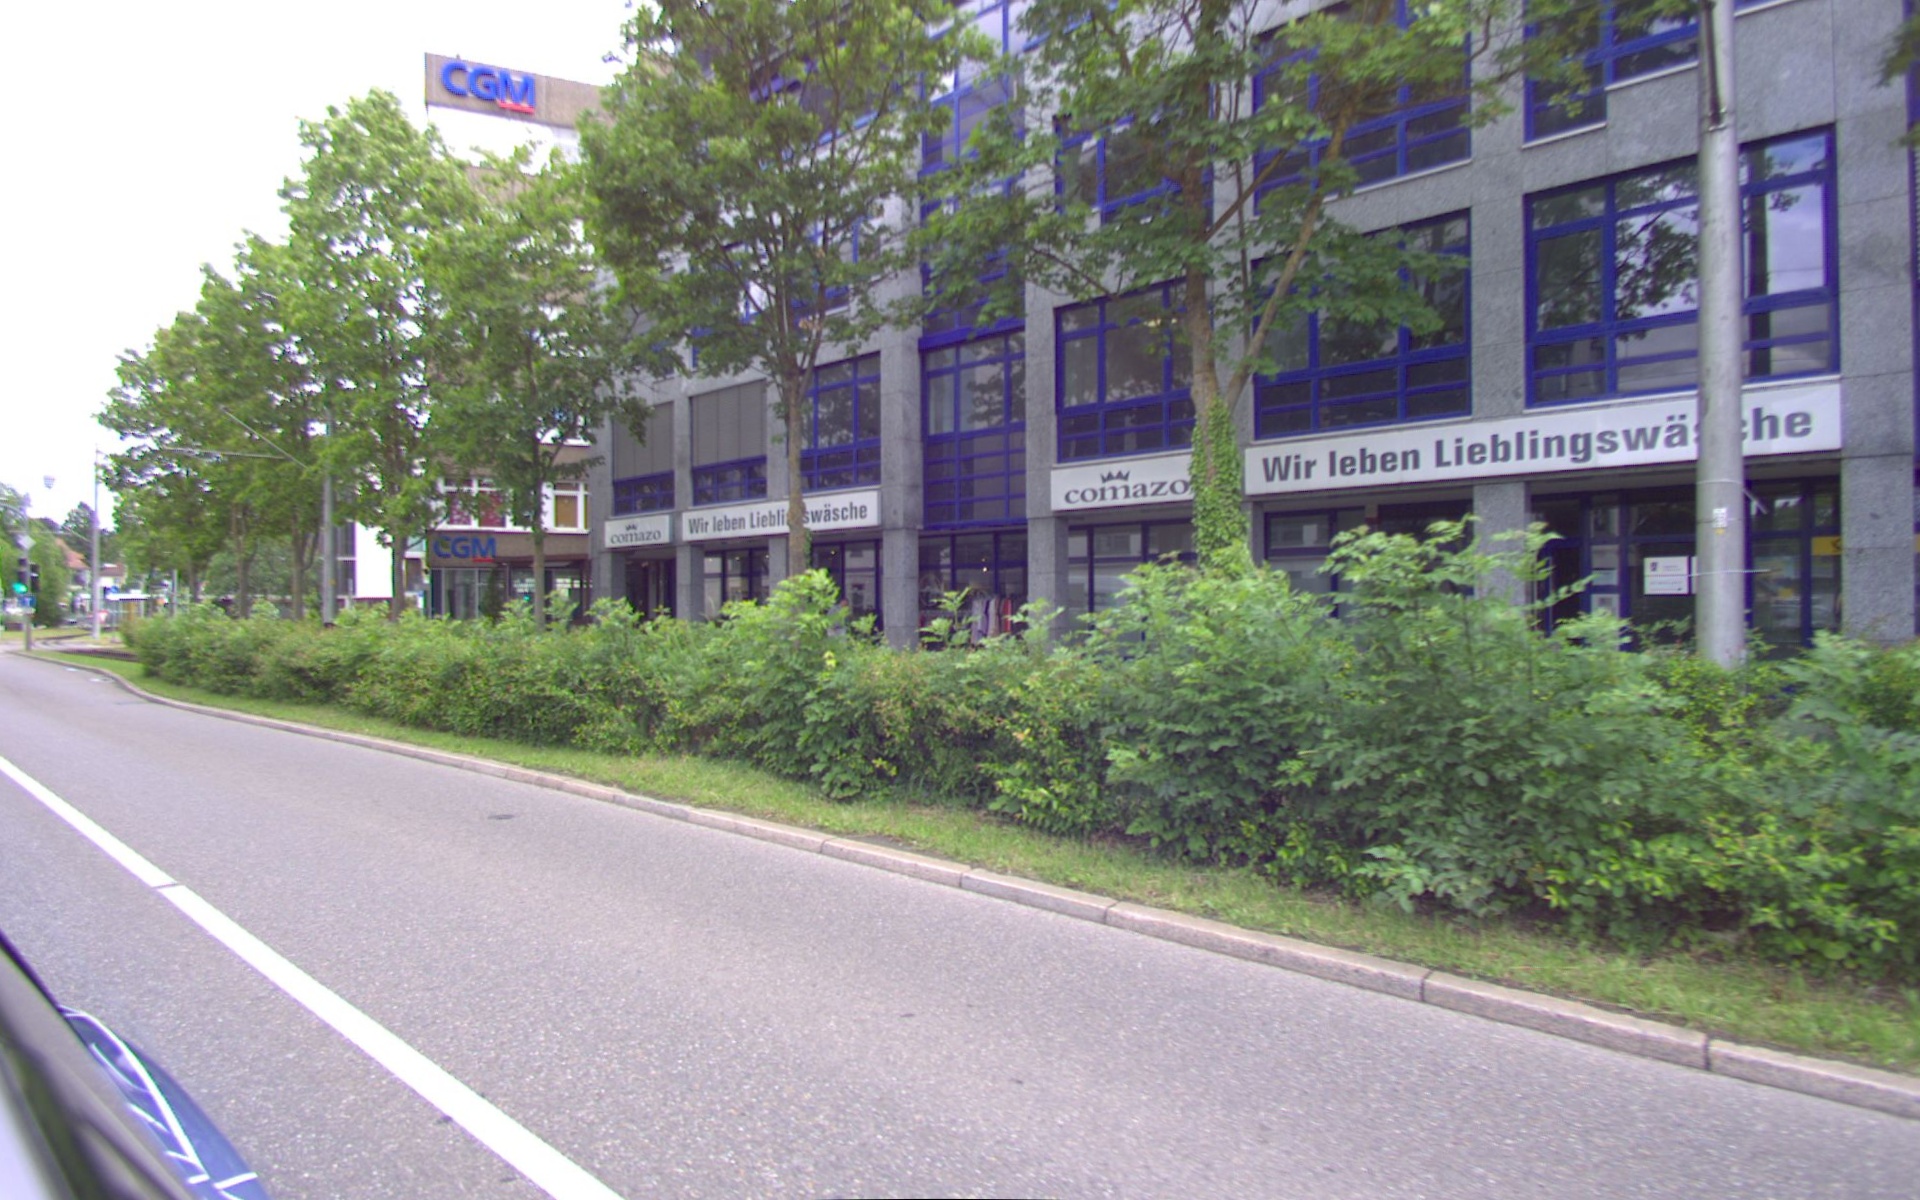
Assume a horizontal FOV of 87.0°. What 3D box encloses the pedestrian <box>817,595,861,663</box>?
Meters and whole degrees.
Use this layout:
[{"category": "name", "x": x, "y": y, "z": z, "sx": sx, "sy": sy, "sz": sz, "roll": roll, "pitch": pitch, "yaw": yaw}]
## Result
[{"category": "pedestrian", "x": -2.756, "y": 0.656, "z": 23.103, "sx": 0.679, "sy": 1.493, "sz": 0.690, "roll": -1, "pitch": 0, "yaw": 41}]
